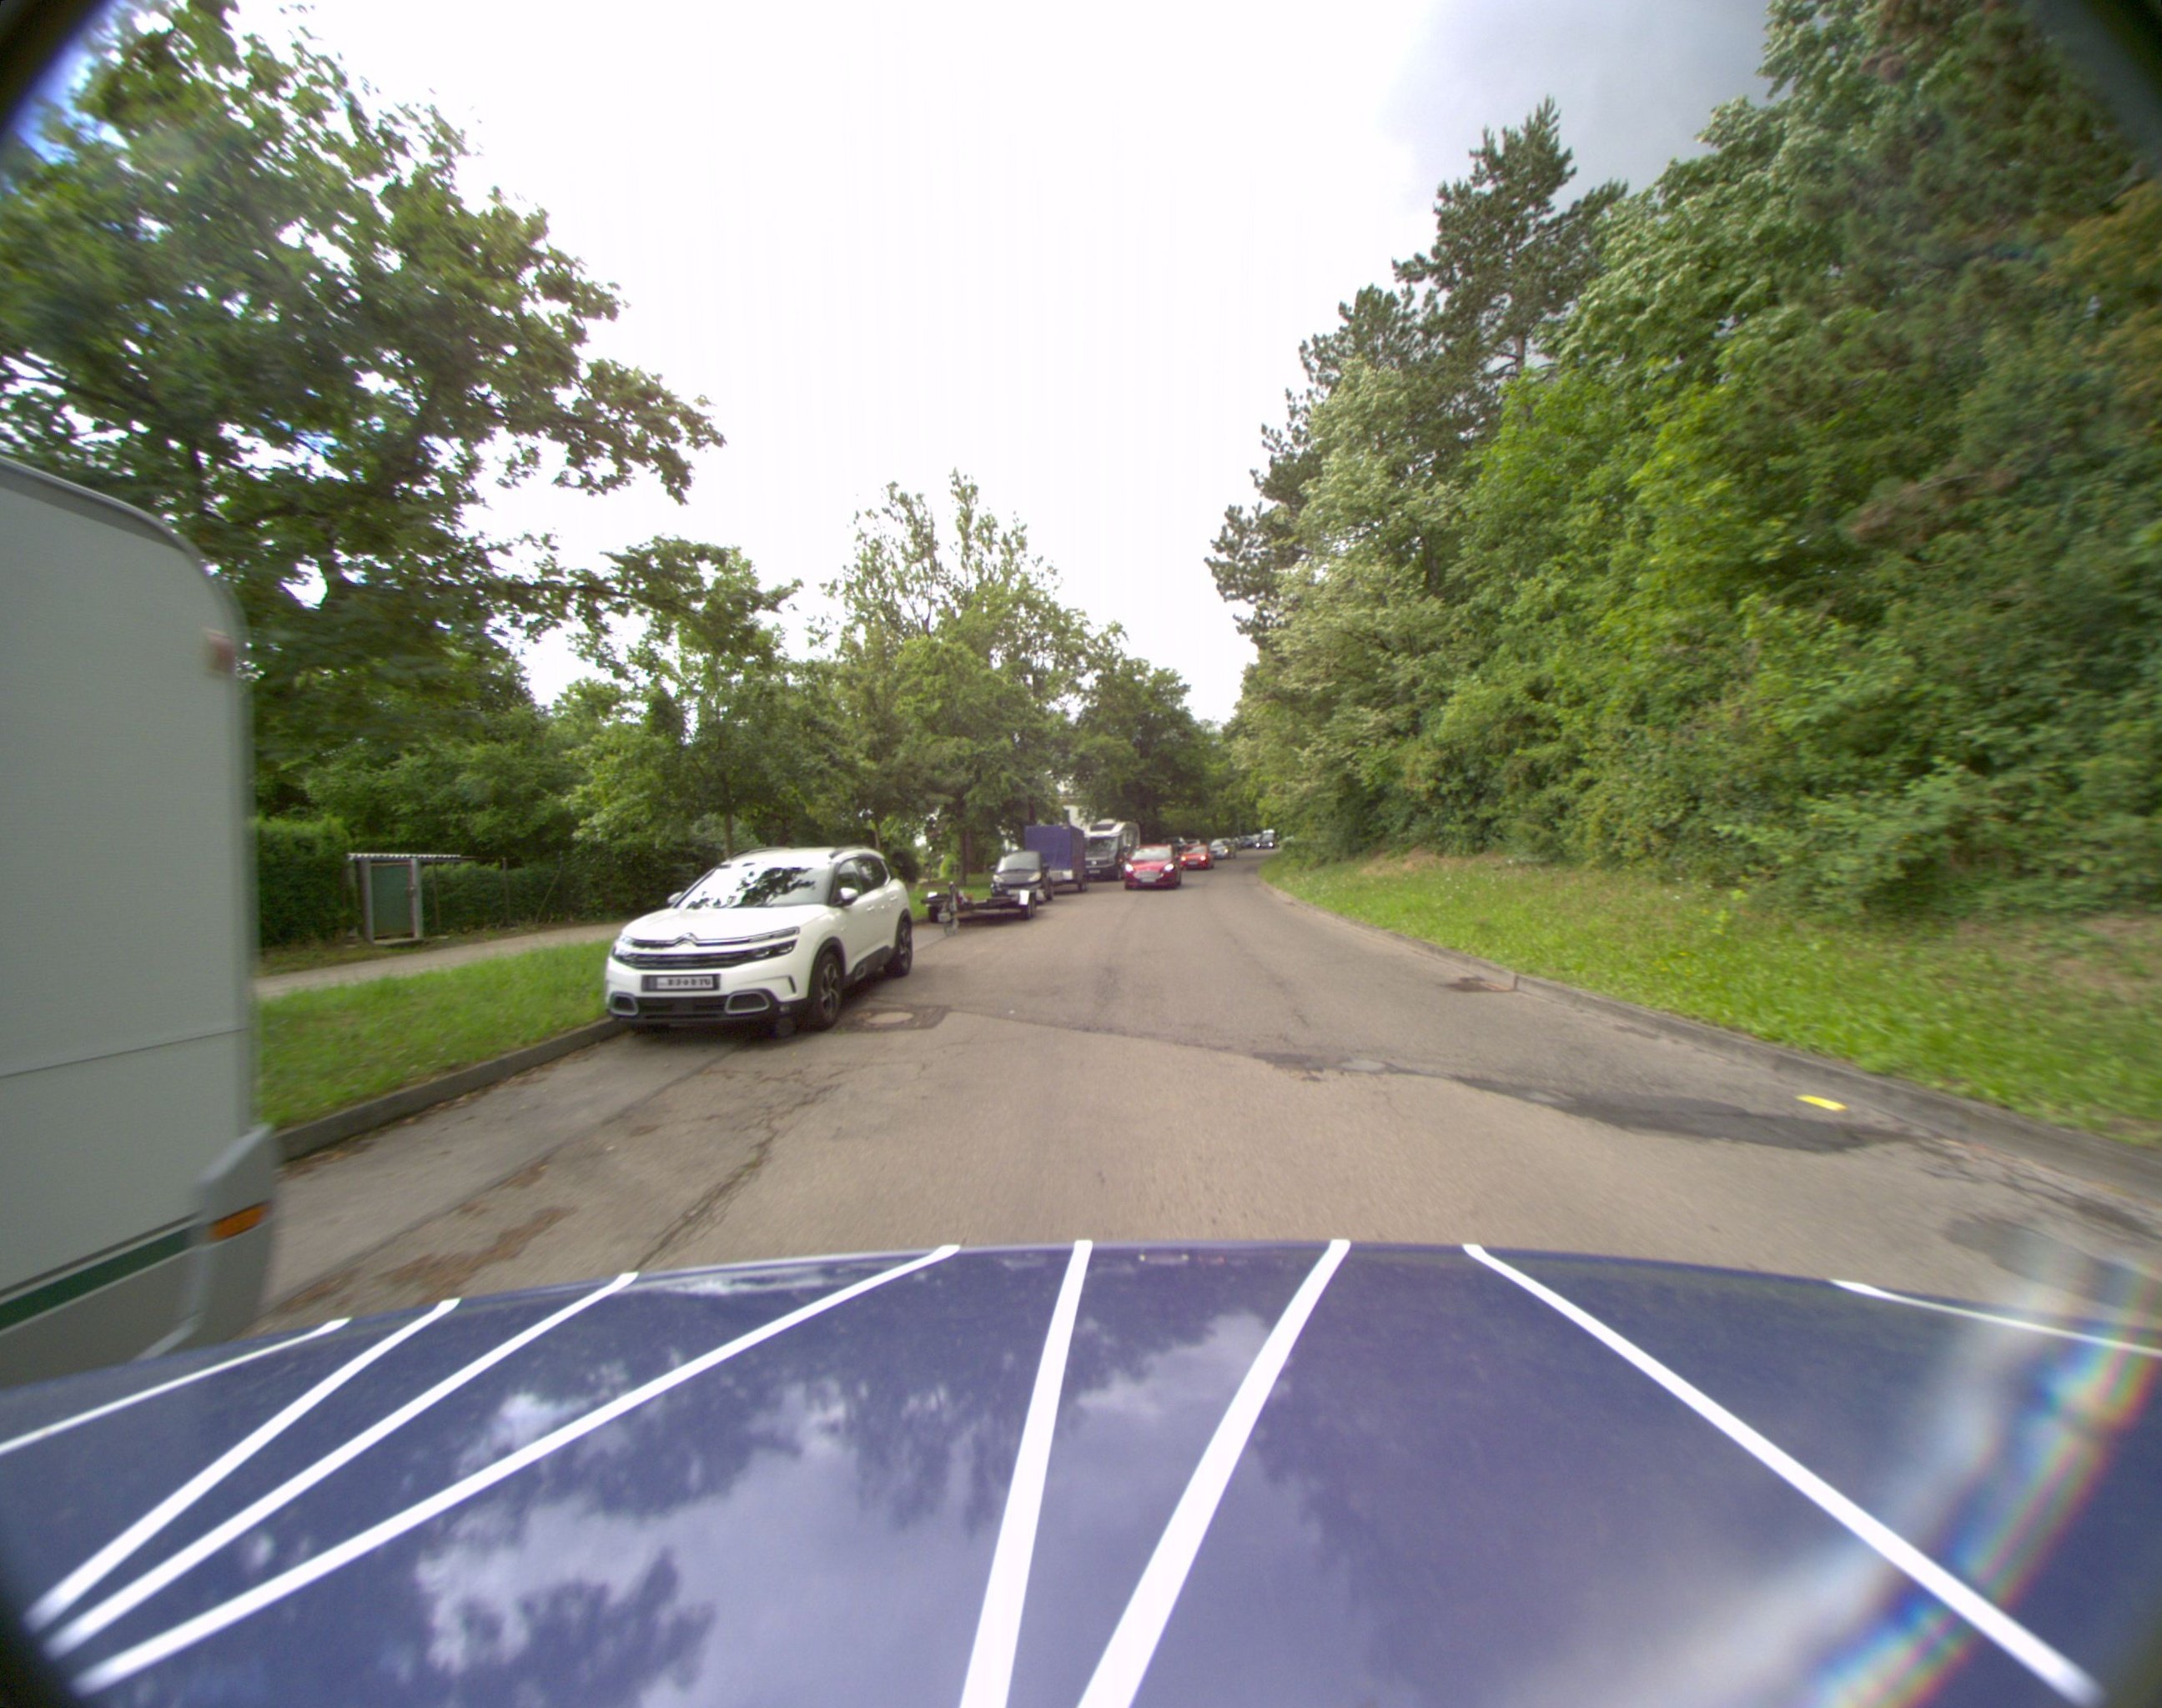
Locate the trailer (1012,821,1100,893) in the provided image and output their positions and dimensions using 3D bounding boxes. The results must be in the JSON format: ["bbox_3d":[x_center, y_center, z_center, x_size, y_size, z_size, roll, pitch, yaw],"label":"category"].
[{"bbox_3d":[-0.781,0.139,27.230,2.110,2.347,4.706,-1,-1,11],"label":"trailer"}]

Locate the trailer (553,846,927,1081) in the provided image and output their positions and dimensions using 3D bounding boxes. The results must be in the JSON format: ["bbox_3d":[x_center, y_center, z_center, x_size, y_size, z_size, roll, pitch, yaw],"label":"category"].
[{"bbox_3d":[-3.100,0.830,8.194,1.776,1.721,4.649,-1,2,2],"label":"trailer"}]

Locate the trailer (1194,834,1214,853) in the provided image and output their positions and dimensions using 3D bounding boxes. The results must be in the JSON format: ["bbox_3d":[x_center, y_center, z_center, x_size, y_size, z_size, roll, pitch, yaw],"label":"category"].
[{"bbox_3d":[11.199,-0.946,69.220,1.375,1.595,2.269,-3,1,18],"label":"trailer"}]

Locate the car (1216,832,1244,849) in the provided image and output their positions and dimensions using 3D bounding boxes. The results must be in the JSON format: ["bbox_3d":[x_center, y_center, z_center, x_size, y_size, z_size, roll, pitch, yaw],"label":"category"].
[{"bbox_3d":[15.506,-1.438,78.953,1.864,1.558,4.181,-3,1,23],"label":"car"}]

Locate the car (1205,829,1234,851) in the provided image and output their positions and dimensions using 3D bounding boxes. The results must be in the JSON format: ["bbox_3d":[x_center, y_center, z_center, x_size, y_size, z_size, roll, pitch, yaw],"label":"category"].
[{"bbox_3d":[11.033,-1.125,60.199,1.920,1.672,4.003,-1,2,15],"label":"car"}]

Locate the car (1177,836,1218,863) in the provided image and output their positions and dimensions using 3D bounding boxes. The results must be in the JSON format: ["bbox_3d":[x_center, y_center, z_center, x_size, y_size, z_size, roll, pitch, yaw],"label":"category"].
[{"bbox_3d":[7.004,-0.289,45.186,1.865,1.440,4.179,-3,1,15],"label":"car"}]

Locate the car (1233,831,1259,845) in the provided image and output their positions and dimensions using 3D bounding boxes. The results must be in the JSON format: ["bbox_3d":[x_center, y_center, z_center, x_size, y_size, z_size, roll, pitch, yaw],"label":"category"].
[{"bbox_3d":[18.419,-1.782,84.872,1.864,1.440,4.182,-3,1,25],"label":"car"}]

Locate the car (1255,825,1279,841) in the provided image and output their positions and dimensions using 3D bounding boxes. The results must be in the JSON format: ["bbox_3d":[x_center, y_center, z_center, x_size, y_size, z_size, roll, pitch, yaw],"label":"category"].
[{"bbox_3d":[19.787,-2.277,80.723,1.765,1.509,4.004,-3,2,22],"label":"car"}]

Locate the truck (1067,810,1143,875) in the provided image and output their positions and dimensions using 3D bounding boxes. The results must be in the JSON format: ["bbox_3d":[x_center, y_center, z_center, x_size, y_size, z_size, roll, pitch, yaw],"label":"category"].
[{"bbox_3d":[1.354,-0.604,38.066,2.307,2.916,7.039,-1,1,14],"label":"truck"}]

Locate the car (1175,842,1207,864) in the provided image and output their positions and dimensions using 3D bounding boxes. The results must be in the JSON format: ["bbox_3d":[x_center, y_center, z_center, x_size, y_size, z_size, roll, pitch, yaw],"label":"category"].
[{"bbox_3d":[9.133,-0.108,62.634,1.843,1.675,4.606,-2,0,18],"label":"car"}]

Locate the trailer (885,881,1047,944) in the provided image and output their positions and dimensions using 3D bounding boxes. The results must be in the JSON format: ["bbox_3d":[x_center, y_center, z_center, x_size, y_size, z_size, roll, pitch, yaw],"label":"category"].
[{"bbox_3d":[-2.188,1.156,16.615,2.109,0.647,6.402,-3,1,4],"label":"trailer"}]

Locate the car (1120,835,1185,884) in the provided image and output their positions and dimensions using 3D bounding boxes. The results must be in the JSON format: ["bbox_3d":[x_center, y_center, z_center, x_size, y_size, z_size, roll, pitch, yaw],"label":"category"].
[{"bbox_3d":[2.812,0.142,28.932,1.997,1.619,4.628,-3,1,10],"label":"car"}]

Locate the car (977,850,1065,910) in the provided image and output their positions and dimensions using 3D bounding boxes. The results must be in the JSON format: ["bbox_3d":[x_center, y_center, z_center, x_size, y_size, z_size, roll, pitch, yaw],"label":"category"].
[{"bbox_3d":[-1.684,0.707,22.512,1.732,1.513,3.407,-3,1,10],"label":"car"}]

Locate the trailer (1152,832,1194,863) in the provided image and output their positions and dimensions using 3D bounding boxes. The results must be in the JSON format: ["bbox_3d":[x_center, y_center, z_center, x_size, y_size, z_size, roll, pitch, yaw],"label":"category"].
[{"bbox_3d":[6.977,-0.540,57.097,1.996,1.922,5.898,-2,3,18],"label":"trailer"}]
